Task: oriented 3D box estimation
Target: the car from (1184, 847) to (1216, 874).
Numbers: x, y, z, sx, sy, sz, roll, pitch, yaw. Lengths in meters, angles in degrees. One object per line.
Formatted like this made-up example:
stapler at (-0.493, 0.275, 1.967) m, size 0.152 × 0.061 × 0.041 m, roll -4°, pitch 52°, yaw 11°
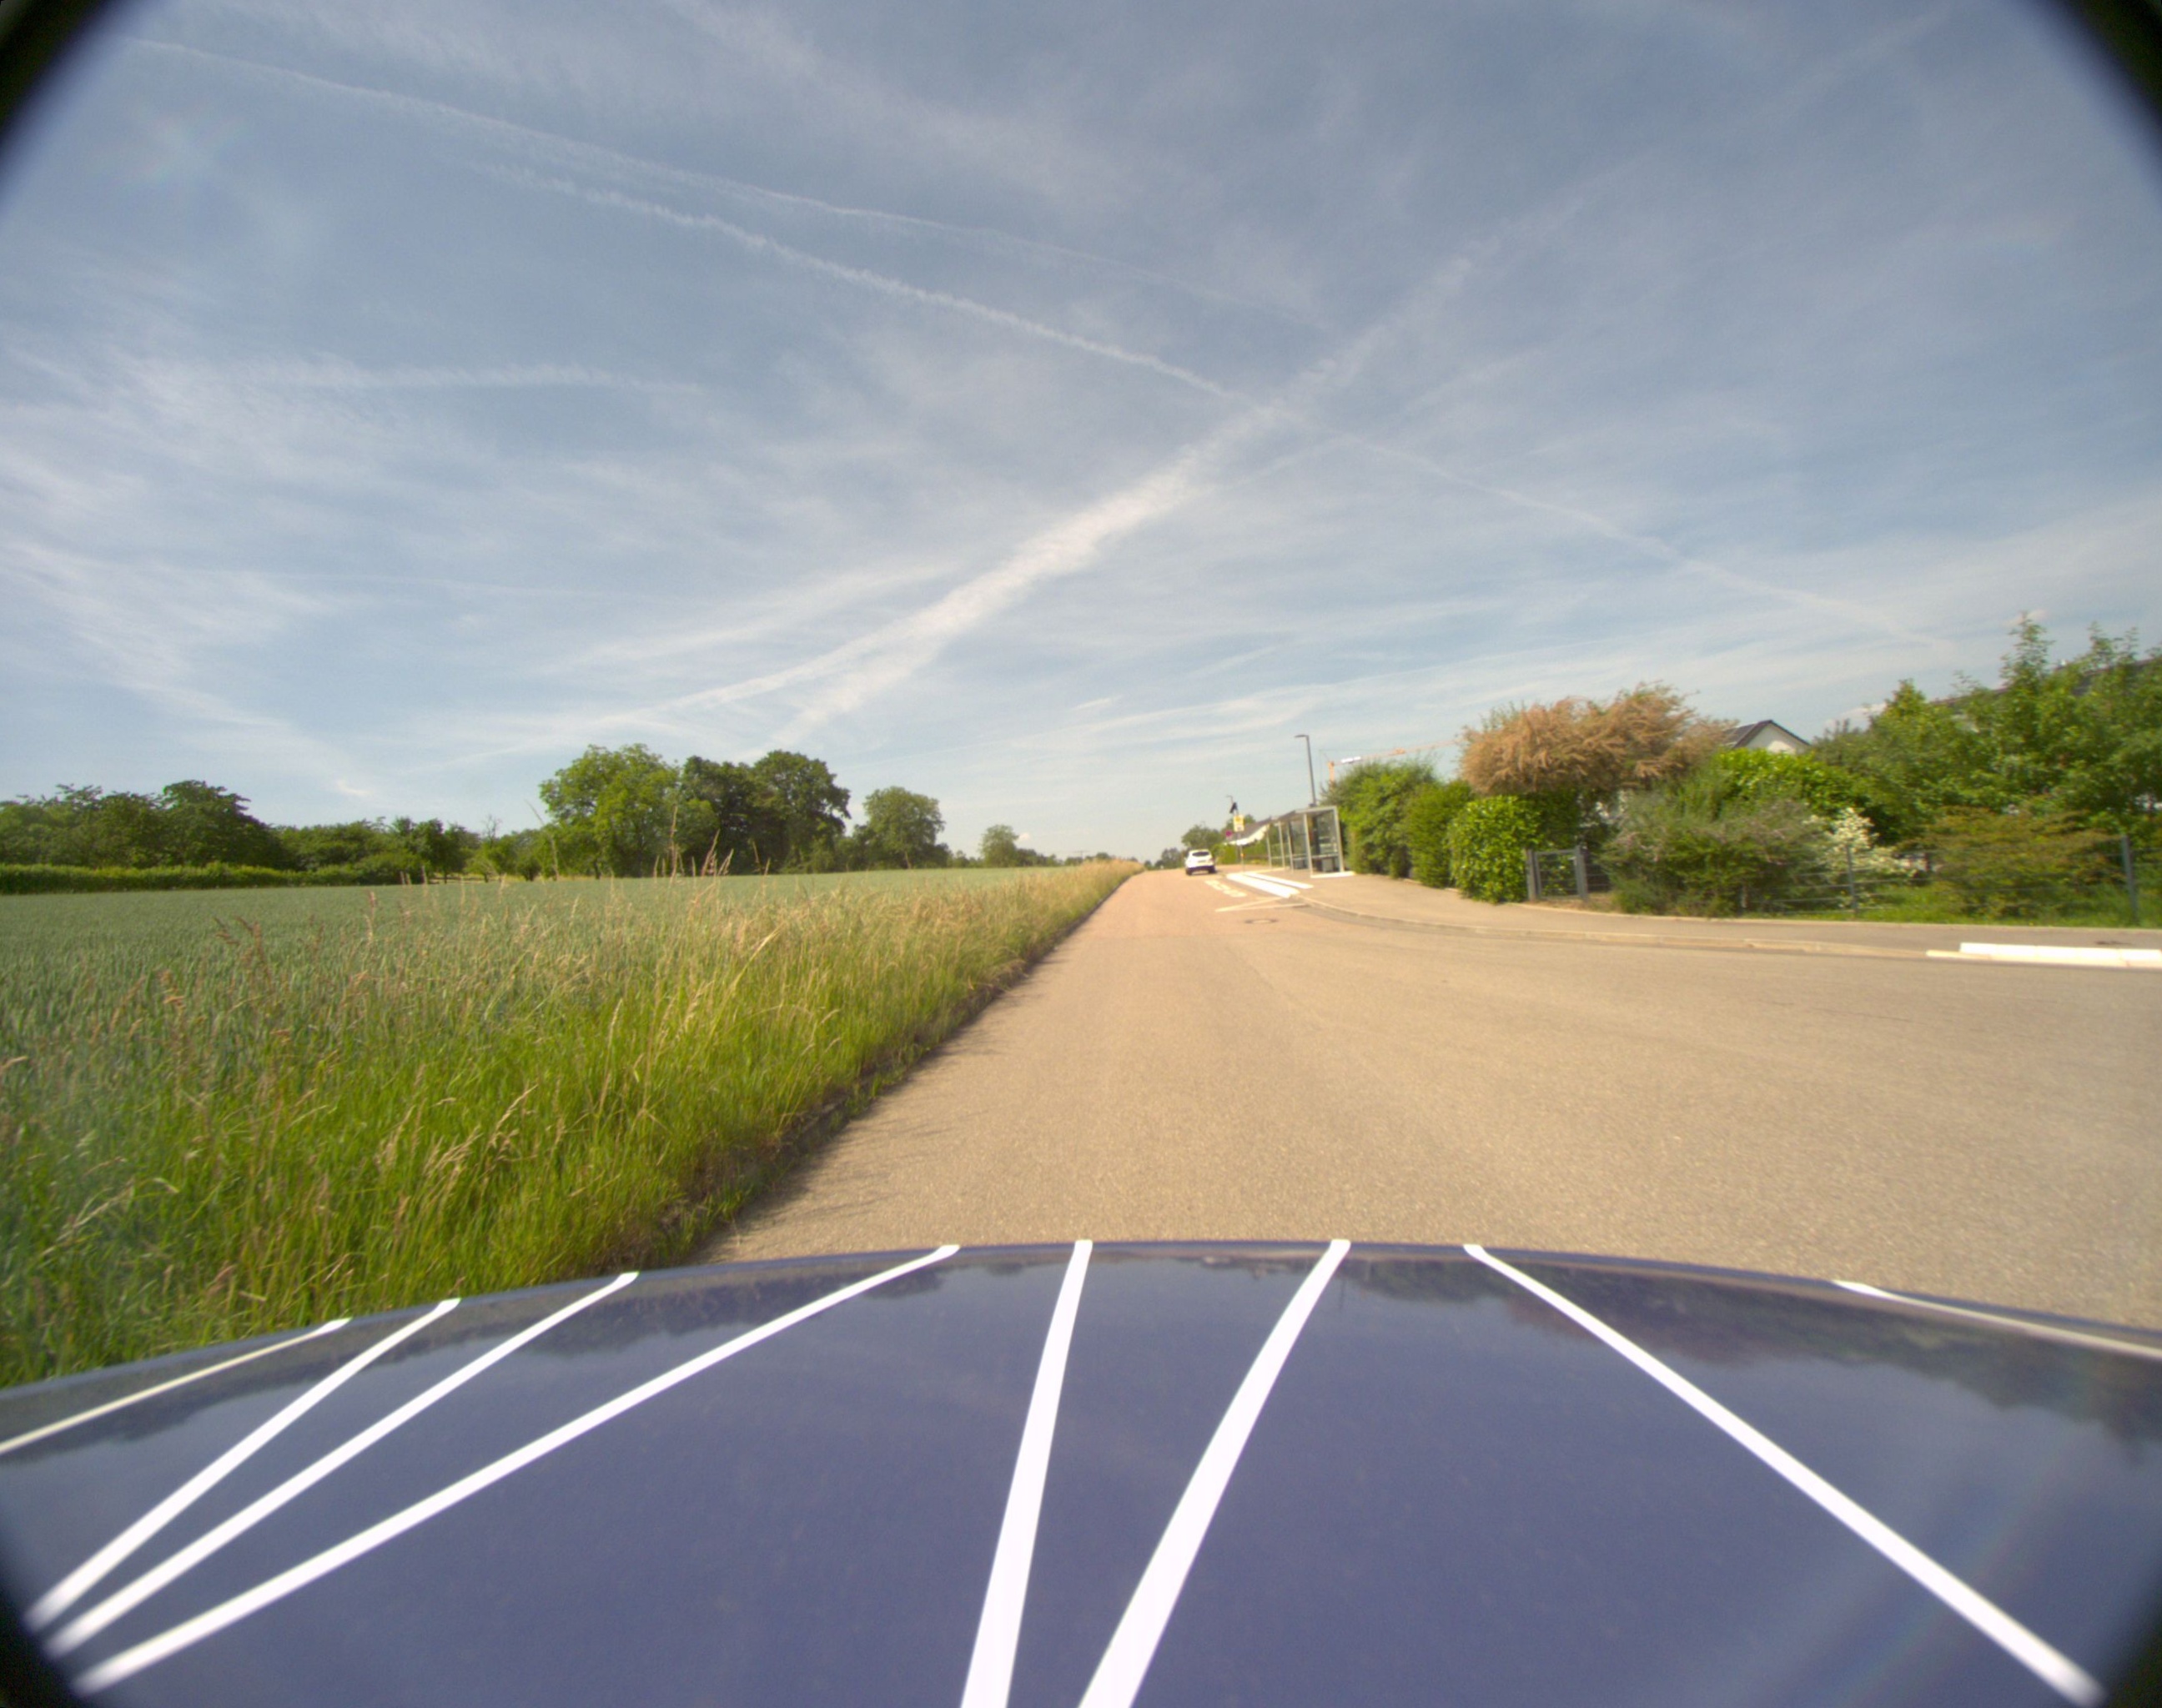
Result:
car at (8.089, 0.419, 51.791) m, size 1.738 × 1.623 × 4.354 m, roll -5°, pitch 0°, yaw 5°
